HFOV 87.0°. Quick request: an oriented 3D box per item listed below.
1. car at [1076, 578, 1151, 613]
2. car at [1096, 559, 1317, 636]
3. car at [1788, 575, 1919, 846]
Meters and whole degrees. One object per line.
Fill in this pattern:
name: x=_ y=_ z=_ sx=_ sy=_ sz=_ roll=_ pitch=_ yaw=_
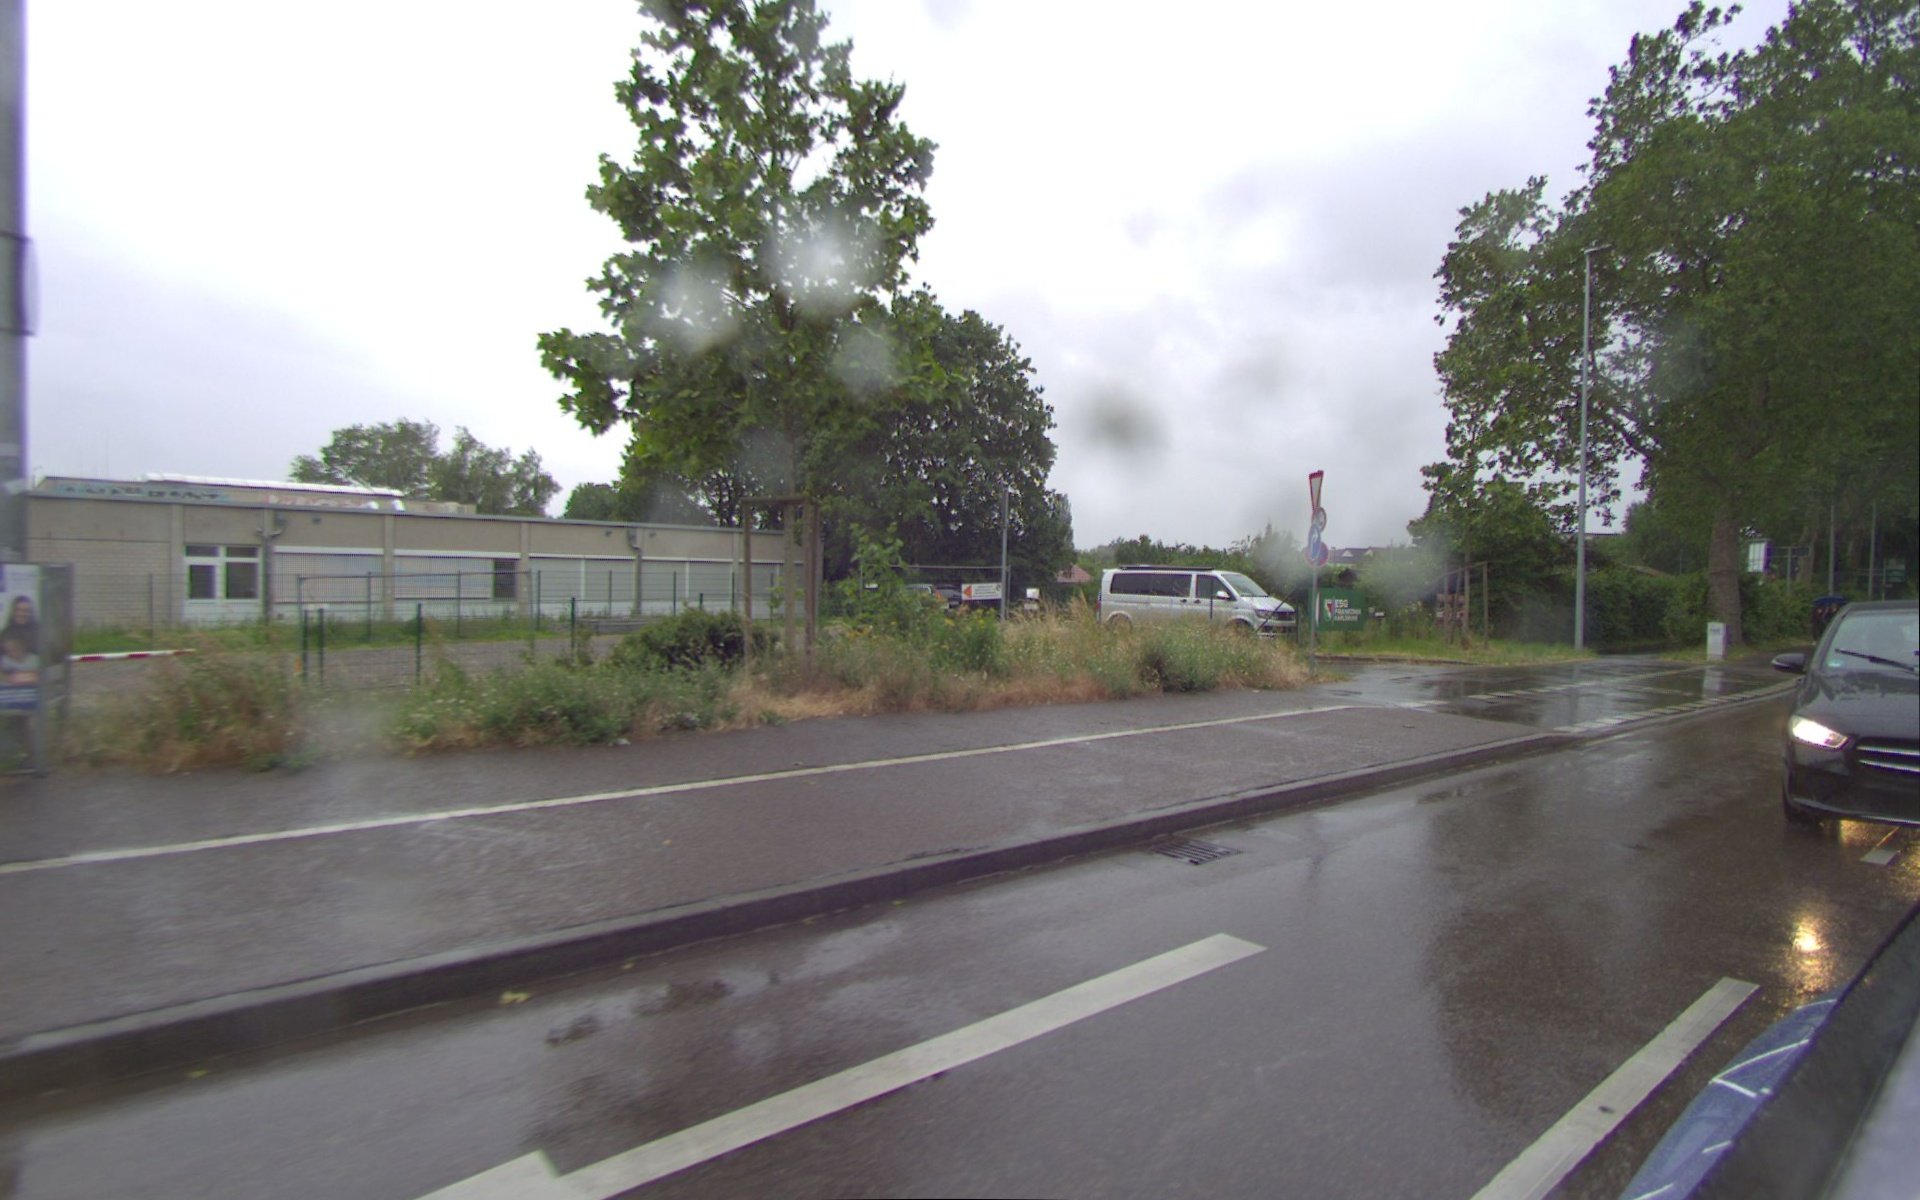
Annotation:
car: x=7.244 y=-0.212 z=47.979 sx=1.321 sy=1.604 sz=3.552 roll=0 pitch=0 yaw=-39
car: x=6.093 y=-0.079 z=25.541 sx=5.161 sy=1.747 sz=1.975 roll=0 pitch=1 yaw=44
car: x=7.254 y=0.668 z=7.324 sx=1.753 sy=1.601 sz=4.105 roll=1 pitch=0 yaw=42
